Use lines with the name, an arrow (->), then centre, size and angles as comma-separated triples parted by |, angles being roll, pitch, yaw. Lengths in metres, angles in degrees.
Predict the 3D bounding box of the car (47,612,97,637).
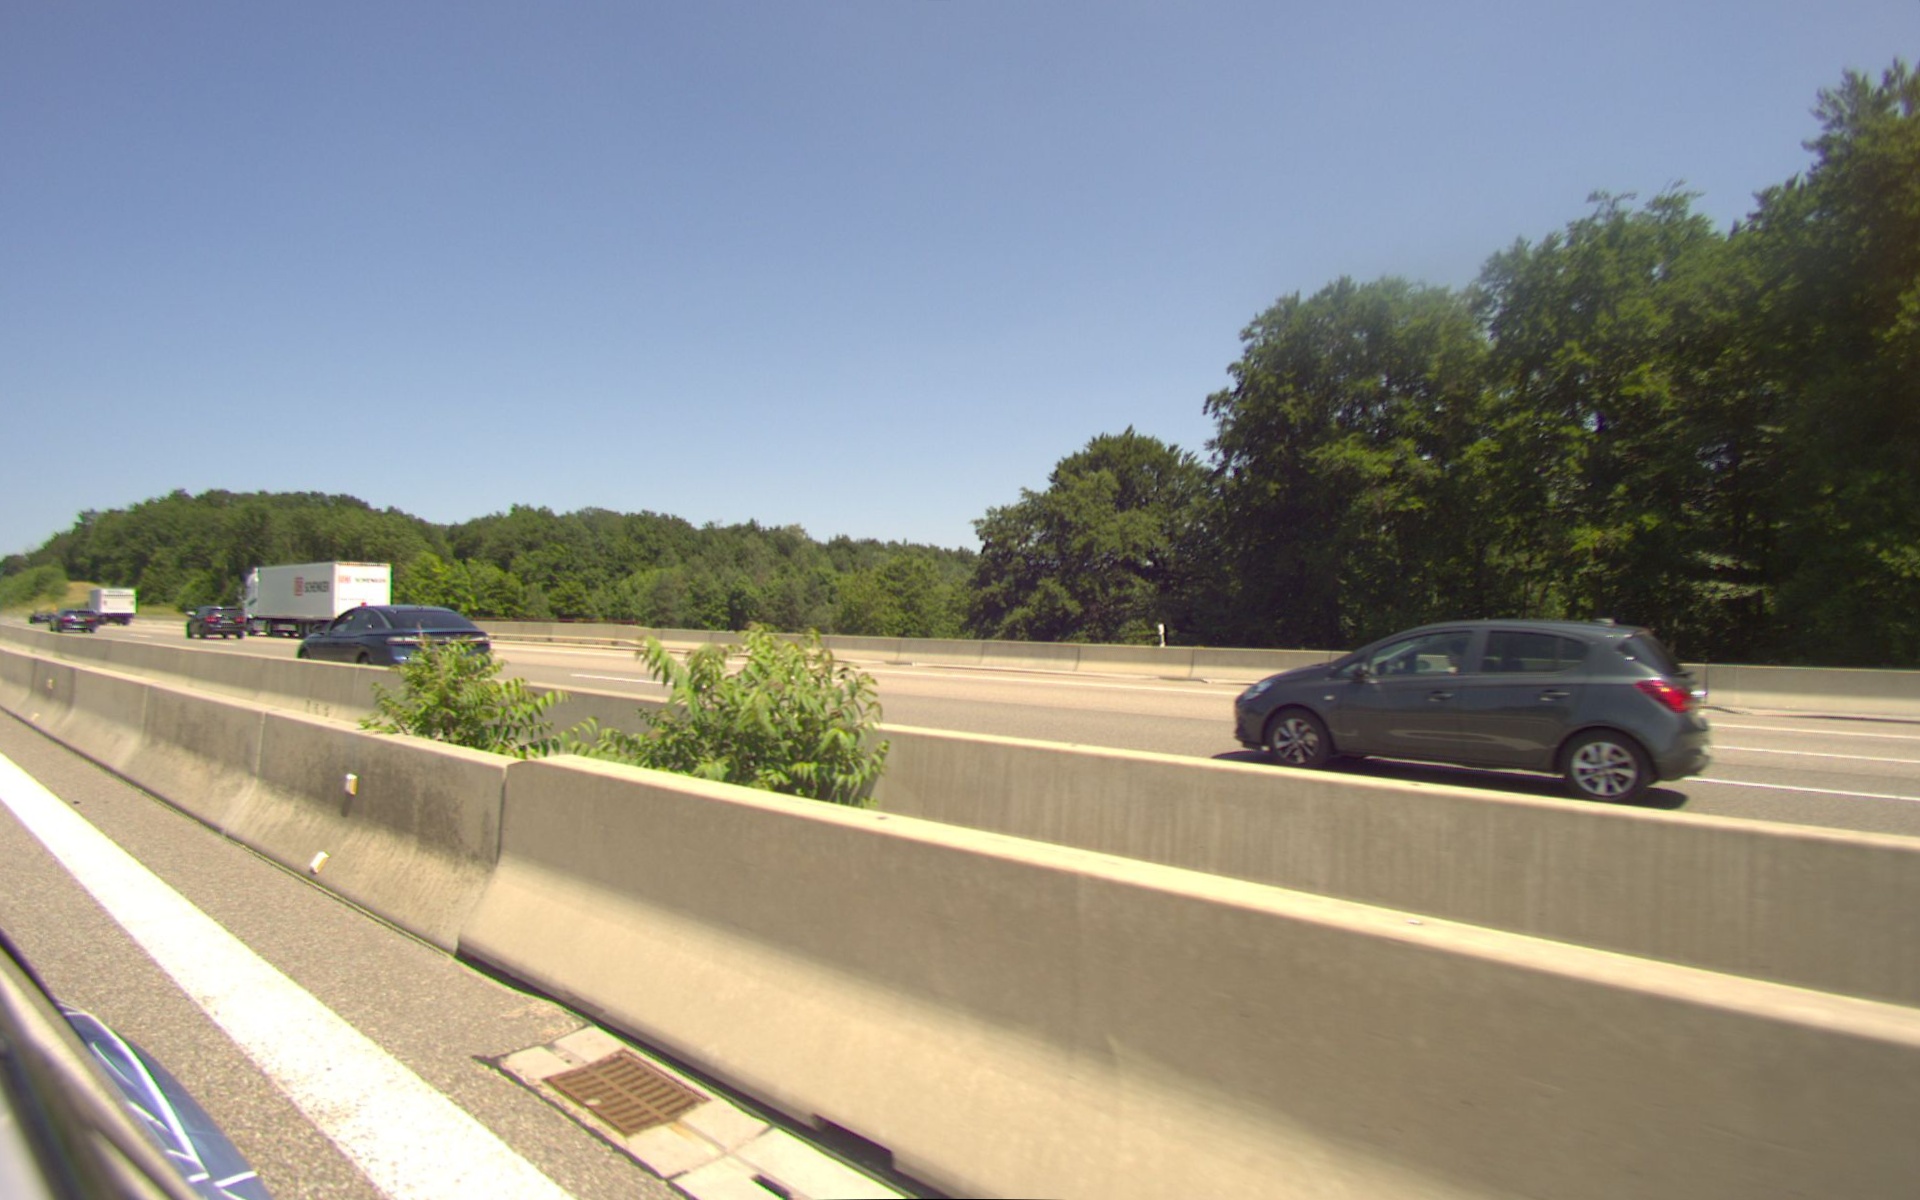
car -> -55.612, 1.485, 63.333 | 4.719, 1.492, 1.779 | 0, 0, 42

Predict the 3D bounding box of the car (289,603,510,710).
car -> -9.688, 0.873, 17.317 | 4.784, 1.580, 1.812 | -1, -1, 42

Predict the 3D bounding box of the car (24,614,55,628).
car -> -90.878, 2.052, 99.897 | 4.530, 1.386, 1.779 | -1, -2, 42

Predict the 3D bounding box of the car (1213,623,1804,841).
car -> 4.756, 0.971, 9.233 | 4.479, 1.489, 1.748 | -1, -1, 42

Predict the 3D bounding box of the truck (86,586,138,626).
truck -> -81.657, 0.632, 97.388 | 8.573, 3.598, 2.513 | -1, -3, 41

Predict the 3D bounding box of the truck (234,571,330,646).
truck -> -39.874, 0.575, 59.387 | 7.874, 4.131, 2.686 | -1, -3, 42

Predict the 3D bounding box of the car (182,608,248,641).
car -> -39.135, 1.240, 53.130 | 5.077, 1.655, 1.779 | -1, -1, 42

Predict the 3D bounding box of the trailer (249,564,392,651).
trailer -> -35.143, 0.471, 55.211 | 14.356, 4.257, 2.614 | -1, -3, 42
